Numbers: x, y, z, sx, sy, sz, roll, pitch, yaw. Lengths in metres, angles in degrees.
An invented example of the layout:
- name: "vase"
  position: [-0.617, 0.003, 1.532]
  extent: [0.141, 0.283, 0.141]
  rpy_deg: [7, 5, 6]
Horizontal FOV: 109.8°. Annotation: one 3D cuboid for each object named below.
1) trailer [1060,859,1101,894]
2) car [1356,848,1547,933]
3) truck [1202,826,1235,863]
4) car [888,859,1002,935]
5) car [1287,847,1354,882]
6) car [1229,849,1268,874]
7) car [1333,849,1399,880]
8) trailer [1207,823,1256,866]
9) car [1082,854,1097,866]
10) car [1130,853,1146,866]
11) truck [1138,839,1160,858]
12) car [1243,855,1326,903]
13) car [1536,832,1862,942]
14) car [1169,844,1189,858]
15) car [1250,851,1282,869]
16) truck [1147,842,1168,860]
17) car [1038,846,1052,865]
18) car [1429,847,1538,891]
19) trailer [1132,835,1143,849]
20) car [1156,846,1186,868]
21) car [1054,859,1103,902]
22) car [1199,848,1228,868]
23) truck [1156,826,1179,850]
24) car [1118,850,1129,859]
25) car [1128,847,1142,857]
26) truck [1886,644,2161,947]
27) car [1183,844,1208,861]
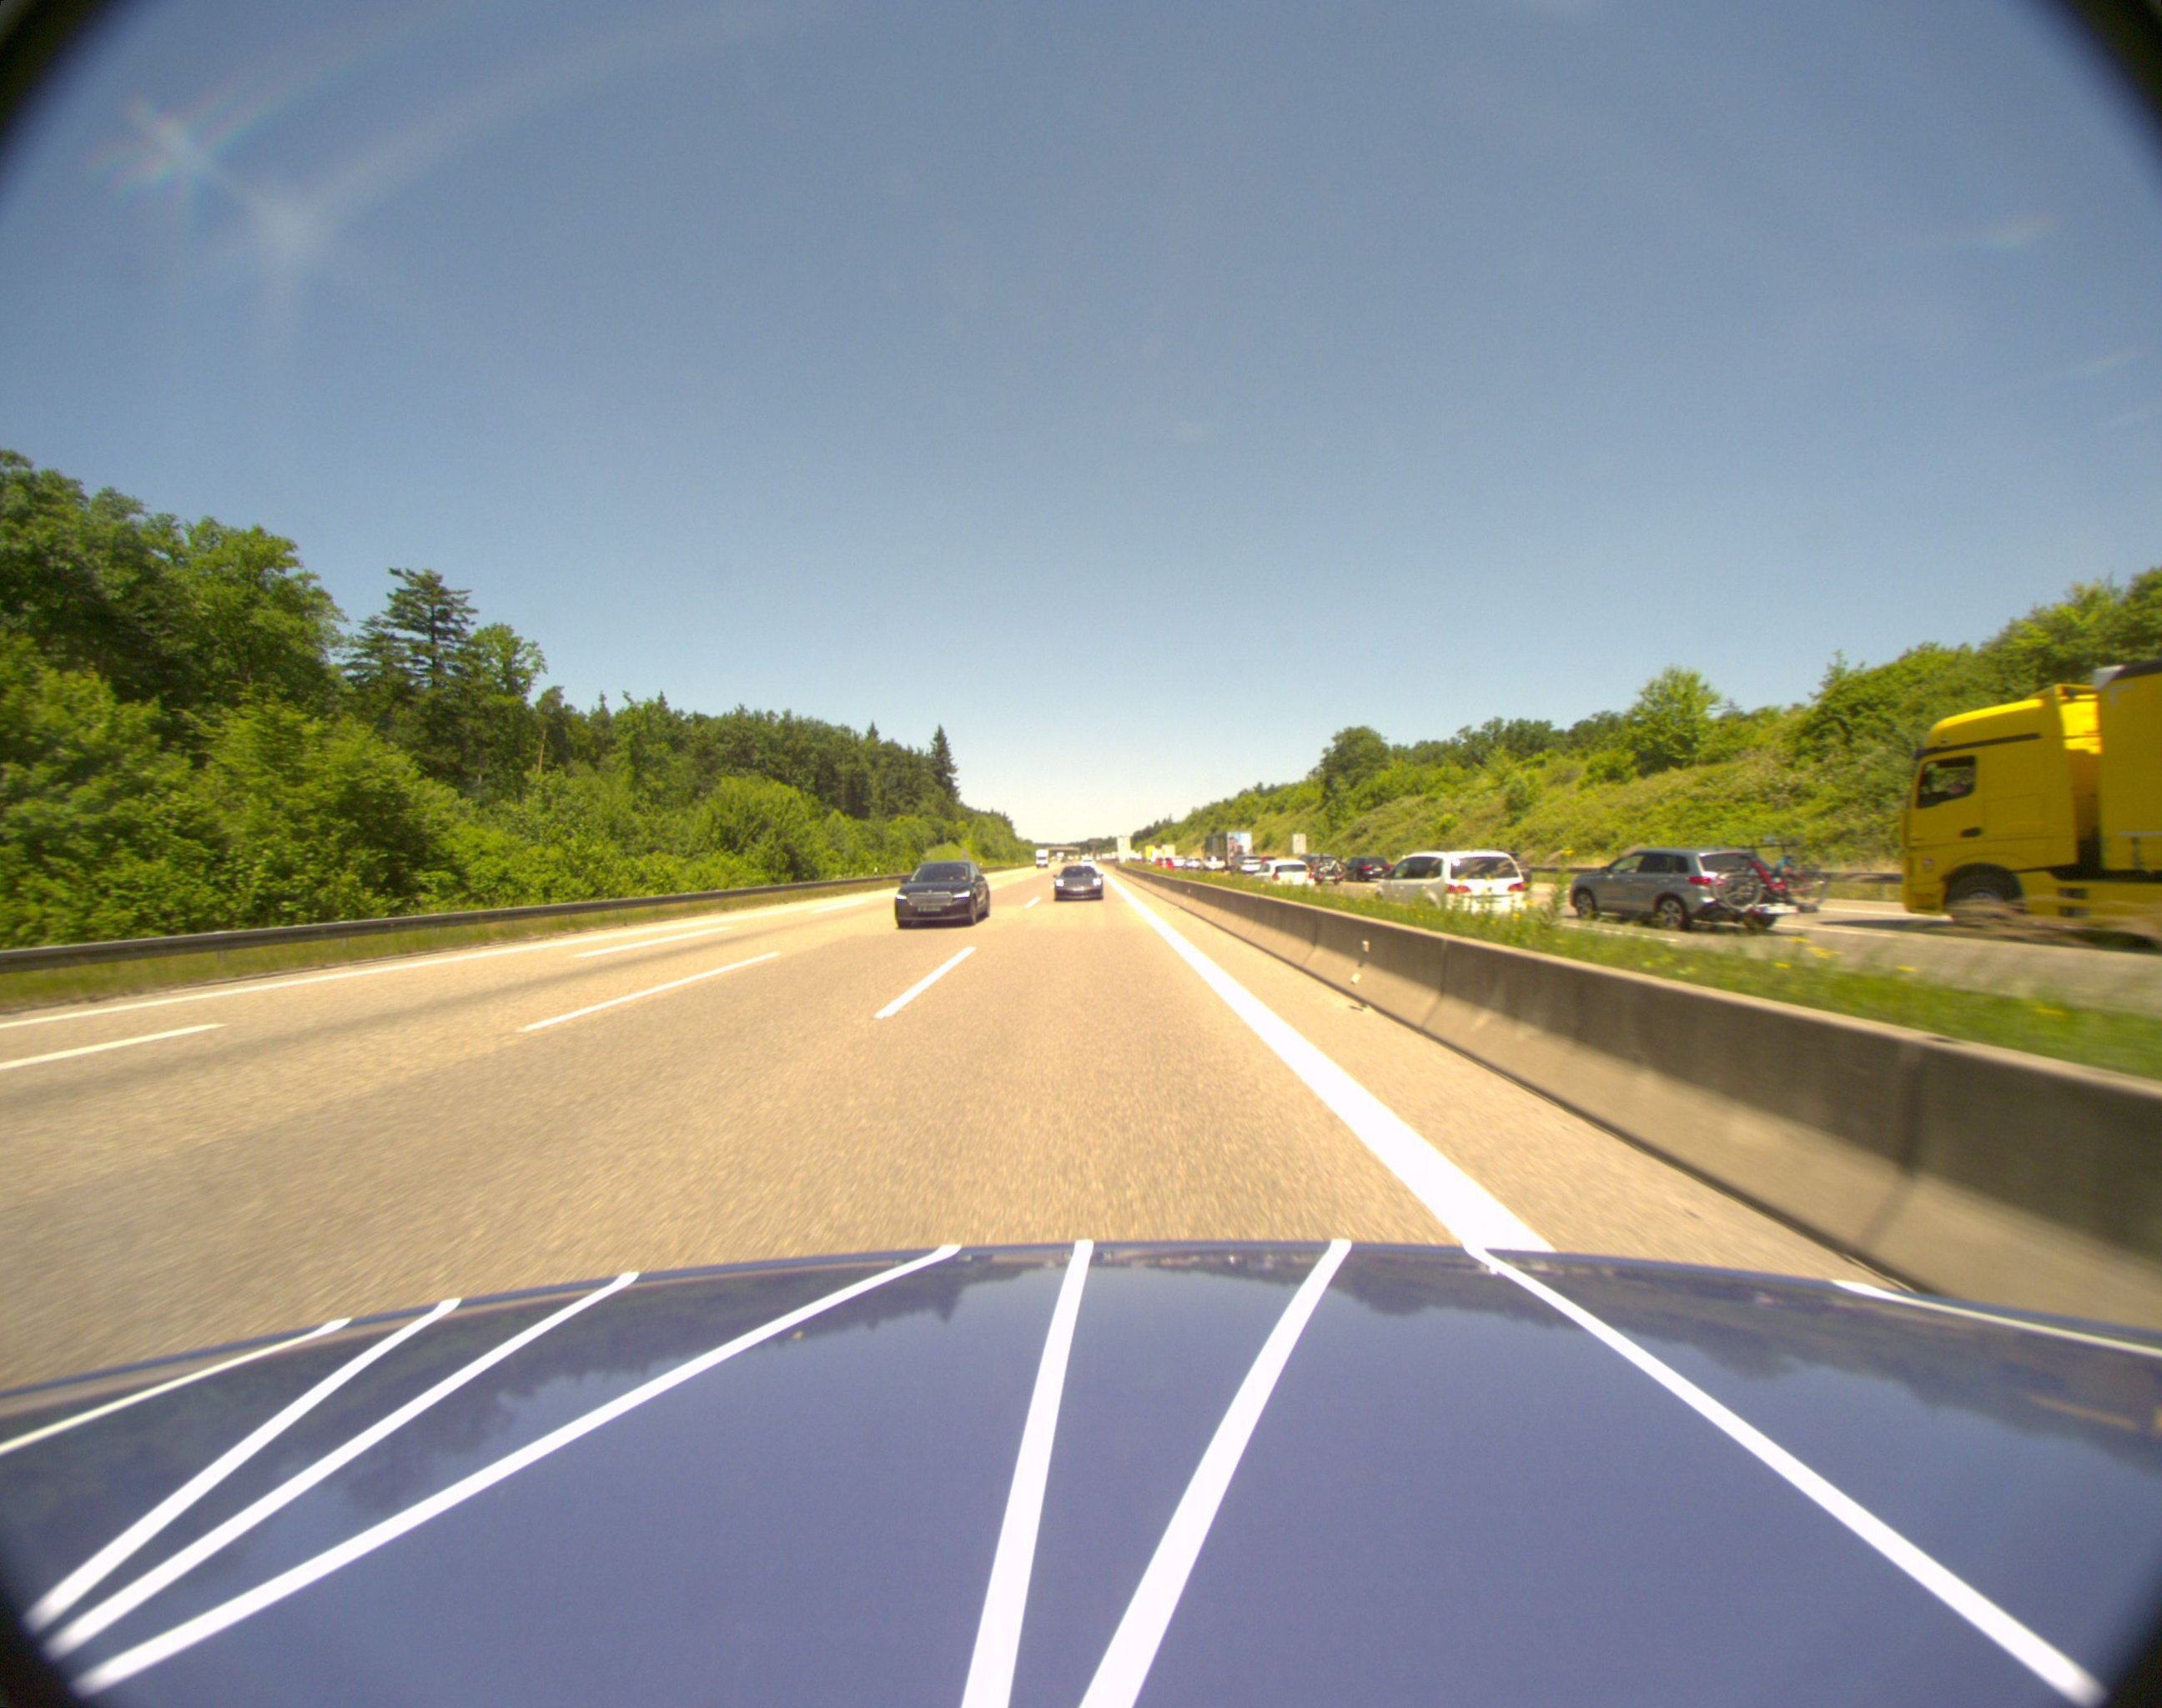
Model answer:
- name: "trailer"
  position: [0.002, 0.959, 33.405]
  extent: [1.689, 1.399, 3.046]
  rpy_deg: [-2, 0, 1]
- name: "car"
  position: [7.880, 0.676, 16.800]
  extent: [1.816, 1.504, 5.029]
  rpy_deg: [-2, 1, 1]
- name: "truck"
  position: [16.344, -1.176, 90.441]
  extent: [2.826, 4.179, 5.628]
  rpy_deg: [-2, 1, 1]
- name: "car"
  position: [-3.365, 0.996, 19.708]
  extent: [1.989, 1.610, 4.457]
  rpy_deg: [-2, 1, 2]
- name: "car"
  position: [12.279, 0.492, 39.401]
  extent: [1.816, 1.619, 5.381]
  rpy_deg: [-2, 1, 1]
- name: "car"
  position: [12.172, 0.511, 55.527]
  extent: [1.816, 1.619, 4.908]
  rpy_deg: [-2, 1, 1]
- name: "car"
  position: [15.327, 0.527, 41.160]
  extent: [1.816, 1.504, 4.797]
  rpy_deg: [-2, 1, 1]
- name: "trailer"
  position: [16.221, -1.086, 83.131]
  extent: [2.850, 4.237, 12.785]
  rpy_deg: [-2, 1, 1]
- name: "car"
  position: [1.041, 0.774, 95.880]
  extent: [1.719, 1.432, 4.456]
  rpy_deg: [-1, 1, -1]
- name: "car"
  position: [8.505, 0.751, 114.005]
  extent: [1.832, 1.754, 4.989]
  rpy_deg: [-2, 1, -1]
- name: "truck"
  position: [16.454, -1.401, 185.370]
  extent: [3.706, 4.431, 16.672]
  rpy_deg: [-2, 1, 1]
- name: "car"
  position: [7.448, 0.850, 28.314]
  extent: [1.816, 1.504, 4.817]
  rpy_deg: [-2, 1, 1]
- name: "car"
  position: [11.934, 0.502, 15.445]
  extent: [1.867, 1.742, 5.901]
  rpy_deg: [-2, 1, 1]
- name: "car"
  position: [12.768, -0.375, 98.980]
  extent: [1.832, 1.754, 4.989]
  rpy_deg: [-2, 1, -1]
- name: "car"
  position: [16.232, 0.477, 66.697]
  extent: [1.816, 1.458, 4.122]
  rpy_deg: [-2, 1, 1]
- name: "truck"
  position: [12.501, -0.479, 124.707]
  extent: [2.575, 2.829, 6.751]
  rpy_deg: [-2, 1, -1]
- name: "car"
  position: [-6.779, 0.238, 142.260]
  extent: [2.303, 3.317, 7.620]
  rpy_deg: [-2, 1, -1]
- name: "car"
  position: [15.540, 0.517, 29.639]
  extent: [1.816, 1.504, 4.600]
  rpy_deg: [-2, 1, 1]
- name: "trailer"
  position: [17.099, -3.587, 230.959]
  extent: [2.617, 3.711, 10.681]
  rpy_deg: [-2, 0, 0]
- name: "car"
  position: [7.764, 0.235, 65.914]
  extent: [1.832, 1.754, 4.989]
  rpy_deg: [-2, 1, -1]
- name: "car"
  position: [-0.033, 0.984, 30.113]
  extent: [1.718, 1.432, 4.457]
  rpy_deg: [-3, 1, 2]
- name: "car"
  position: [12.170, 0.333, 70.244]
  extent: [1.816, 1.619, 5.218]
  rpy_deg: [-2, 1, 1]
- name: "truck"
  position: [17.056, -3.113, 150.833]
  extent: [3.002, 4.517, 13.923]
  rpy_deg: [-2, 1, 1]
- name: "car"
  position: [8.428, 0.124, 151.229]
  extent: [1.832, 1.754, 4.989]
  rpy_deg: [-2, 1, -1]
- name: "car"
  position: [8.975, -0.349, 126.742]
  extent: [1.832, 1.556, 5.110]
  rpy_deg: [-2, 1, -1]
- name: "truck"
  position: [15.782, -0.828, 10.614]
  extent: [2.608, 4.041, 6.132]
  rpy_deg: [-2, 1, 1]
- name: "car"
  position: [12.454, -0.162, 83.115]
  extent: [1.832, 1.754, 4.989]
  rpy_deg: [-2, 1, -1]
